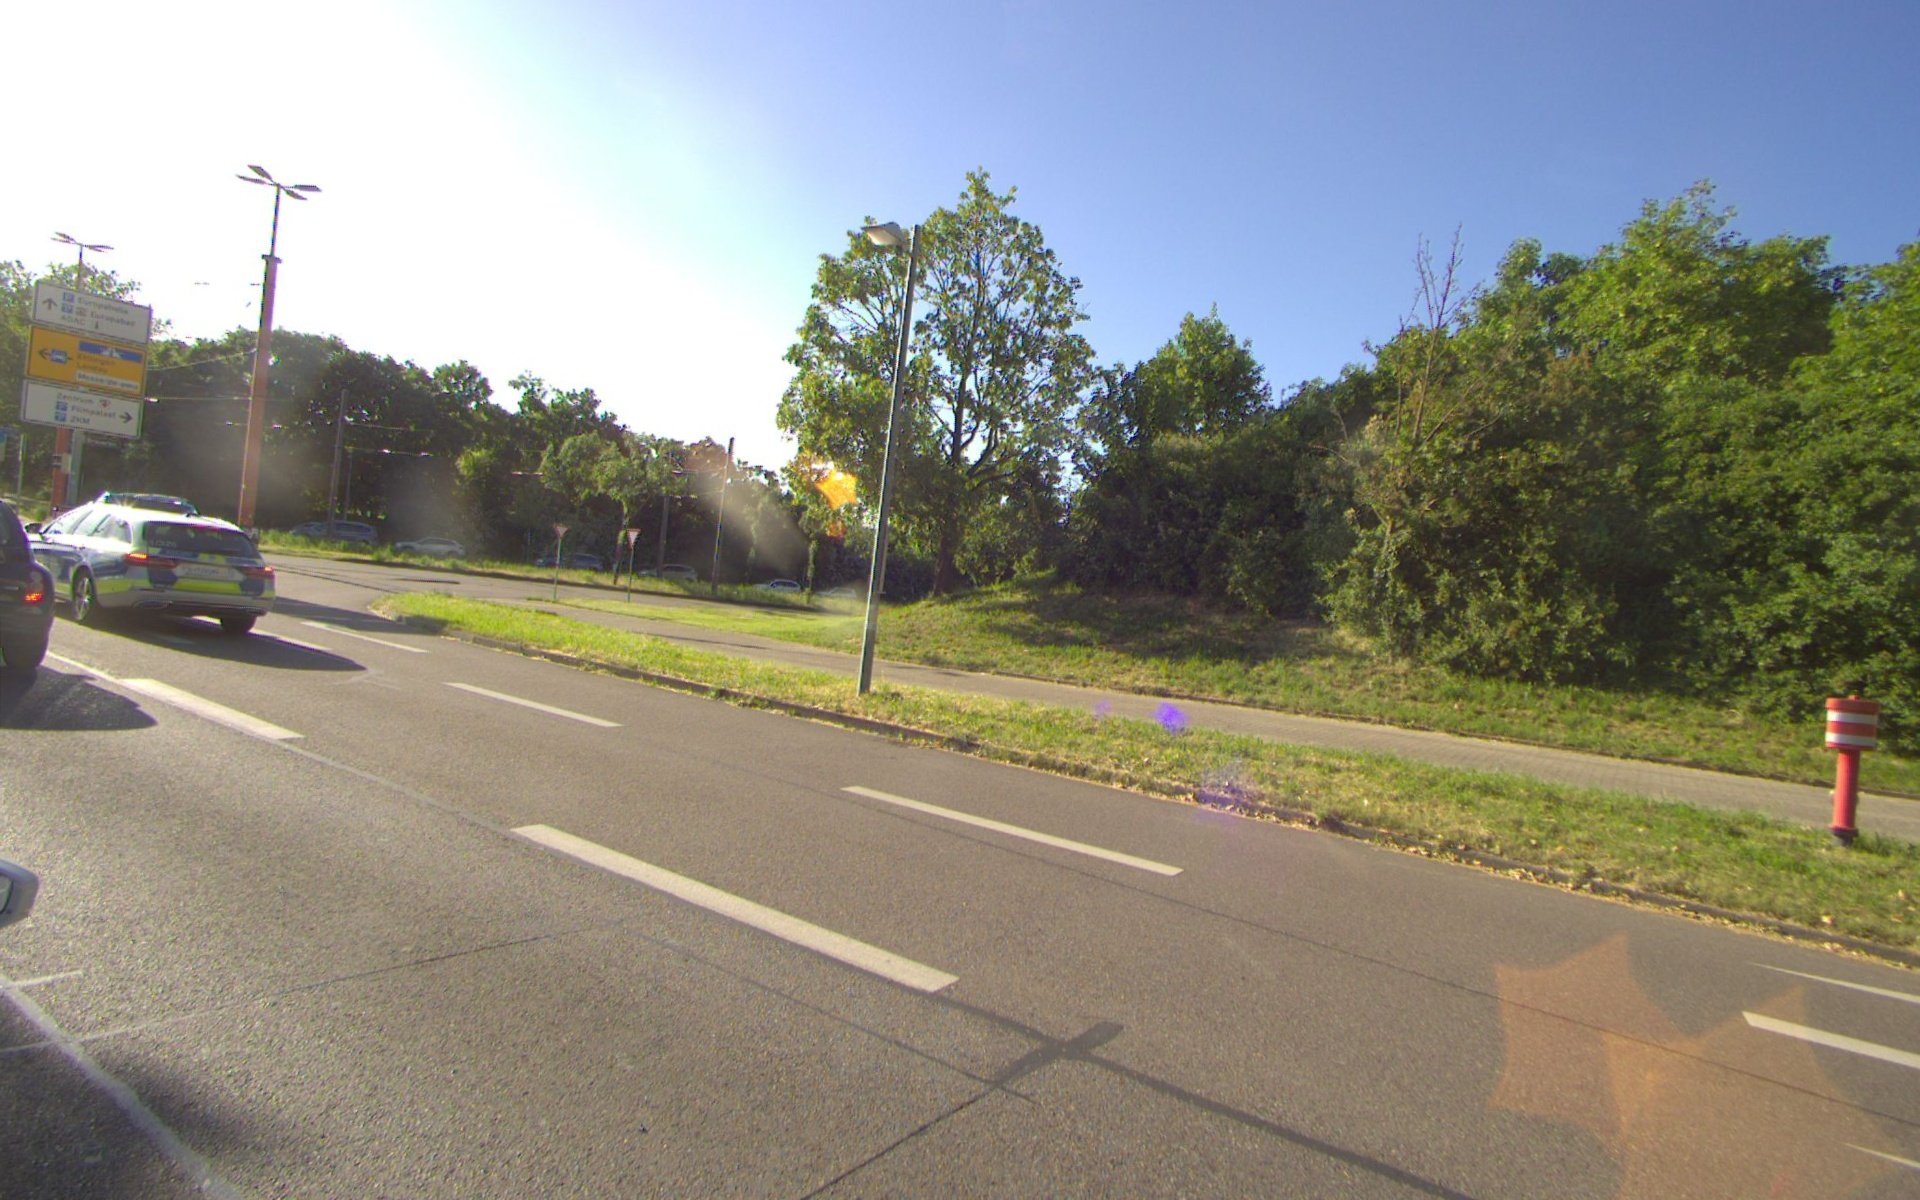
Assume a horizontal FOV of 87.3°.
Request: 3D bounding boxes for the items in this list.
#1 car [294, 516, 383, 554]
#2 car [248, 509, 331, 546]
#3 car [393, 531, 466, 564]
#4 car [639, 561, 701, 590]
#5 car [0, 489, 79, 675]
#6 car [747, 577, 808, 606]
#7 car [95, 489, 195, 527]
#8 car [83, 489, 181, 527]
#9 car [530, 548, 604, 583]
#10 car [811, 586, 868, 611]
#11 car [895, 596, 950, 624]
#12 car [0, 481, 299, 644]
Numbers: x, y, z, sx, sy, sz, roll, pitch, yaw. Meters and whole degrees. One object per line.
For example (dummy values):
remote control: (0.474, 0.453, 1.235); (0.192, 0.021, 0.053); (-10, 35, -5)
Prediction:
car: (-36.820, -3.836, 59.655); (4.323, 1.577, 1.856); (8, -1, -33)
car: (-40.545, -4.361, 60.987); (3.959, 1.579, 1.884); (8, -1, -31)
car: (-34.177, -3.342, 64.853); (3.959, 1.513, 1.846); (8, -1, -31)
car: (-21.213, -1.780, 73.618); (3.958, 1.546, 1.845); (8, -1, -31)
car: (-9.524, -0.352, 8.838); (3.445, 1.512, 1.641); (7, -1, 32)
car: (-13.467, -0.632, 74.276); (3.958, 1.600, 1.858); (8, -1, -30)
car: (-44.518, -5.007, 55.071); (3.960, 1.353, 1.715); (8, -1, -32)
car: (-47.024, -5.199, 57.223); (3.960, 1.493, 1.774); (8, -1, -32)
car: (-26.000, -2.277, 66.604); (4.230, 1.646, 1.914); (8, -1, -31)
car: (-9.560, -0.116, 79.909); (3.955, 1.503, 1.877); (8, -1, -29)
car: (-2.966, 0.815, 80.151); (3.957, 1.665, 1.720); (8, -1, -30)
car: (-11.126, -0.537, 13.596); (4.427, 1.653, 1.895); (7, 0, 32)
